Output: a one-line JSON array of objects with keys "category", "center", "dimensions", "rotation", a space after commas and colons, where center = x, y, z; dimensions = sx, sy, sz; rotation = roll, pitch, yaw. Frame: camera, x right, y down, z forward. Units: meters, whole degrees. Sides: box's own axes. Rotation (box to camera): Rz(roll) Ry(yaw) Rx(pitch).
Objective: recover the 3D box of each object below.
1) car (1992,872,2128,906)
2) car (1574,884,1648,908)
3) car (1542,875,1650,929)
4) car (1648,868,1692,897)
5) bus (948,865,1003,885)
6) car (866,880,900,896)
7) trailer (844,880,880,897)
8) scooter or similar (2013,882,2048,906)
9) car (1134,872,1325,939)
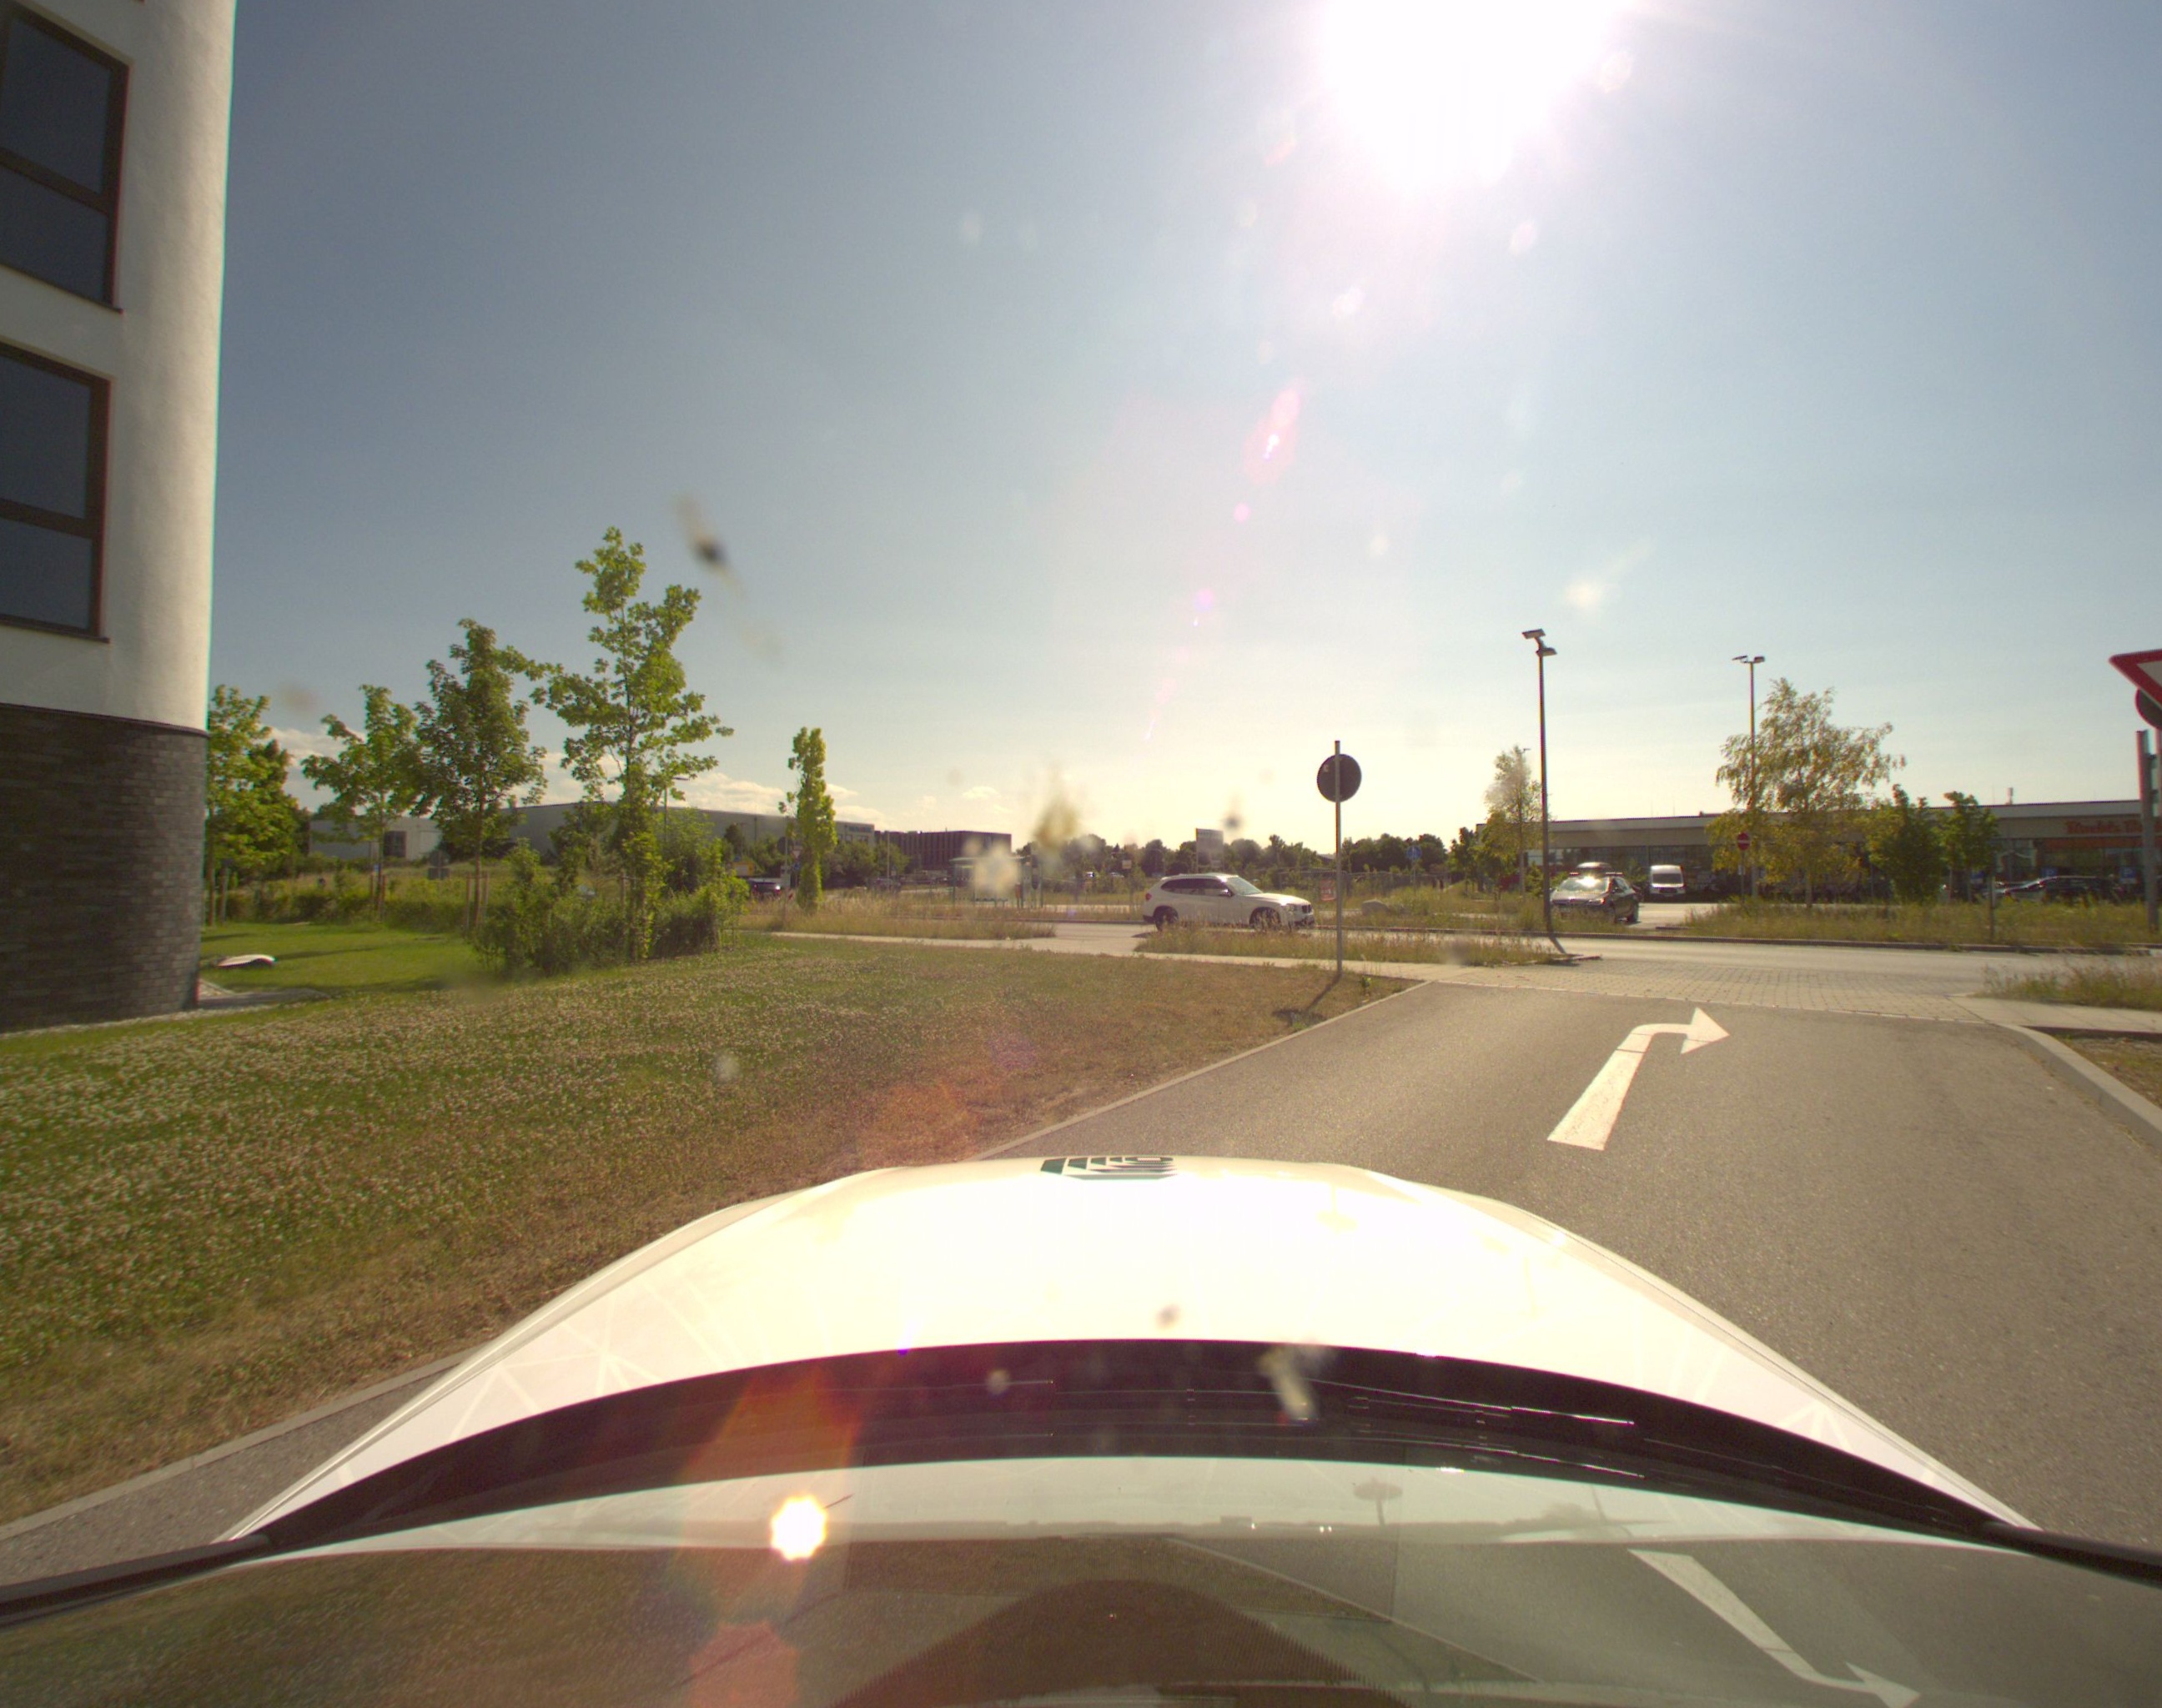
[{"category": "car", "center": [45.941, 1.640, 38.331], "dimensions": [3.757, 1.509, 1.743], "rotation": [-2, -3, 37]}, {"category": "car", "center": [33.053, 2.622, 50.873], "dimensions": [3.795, 1.423, 1.783], "rotation": [-1, -3, 33]}, {"category": "car", "center": [15.739, 1.418, 24.795], "dimensions": [1.975, 1.517, 4.221], "rotation": [-1, -3, 43]}, {"category": "car", "center": [42.275, 2.022, 58.570], "dimensions": [2.201, 1.977, 6.737], "rotation": [-2, -2, 33]}, {"category": "bus", "center": [-14.929, 3.029, 116.153], "dimensions": [2.550, 2.735, 11.627], "rotation": [0, -1, 21]}, {"category": "car", "center": [-23.052, 3.965, 95.086], "dimensions": [1.806, 1.860, 4.020], "rotation": [0, -2, 22]}, {"category": "trailer", "center": [-24.581, 3.821, 91.439], "dimensions": [1.806, 1.860, 4.020], "rotation": [0, -2, 22]}, {"category": "scooter or similar", "center": [43.981, 1.854, 37.716], "dimensions": [0.934, 1.079, 0.656], "rotation": [-2, -3, 41]}, {"category": "car", "center": [3.781, 1.269, 21.016], "dimensions": [4.511, 1.551, 1.752], "rotation": [-1, -3, 34]}]
